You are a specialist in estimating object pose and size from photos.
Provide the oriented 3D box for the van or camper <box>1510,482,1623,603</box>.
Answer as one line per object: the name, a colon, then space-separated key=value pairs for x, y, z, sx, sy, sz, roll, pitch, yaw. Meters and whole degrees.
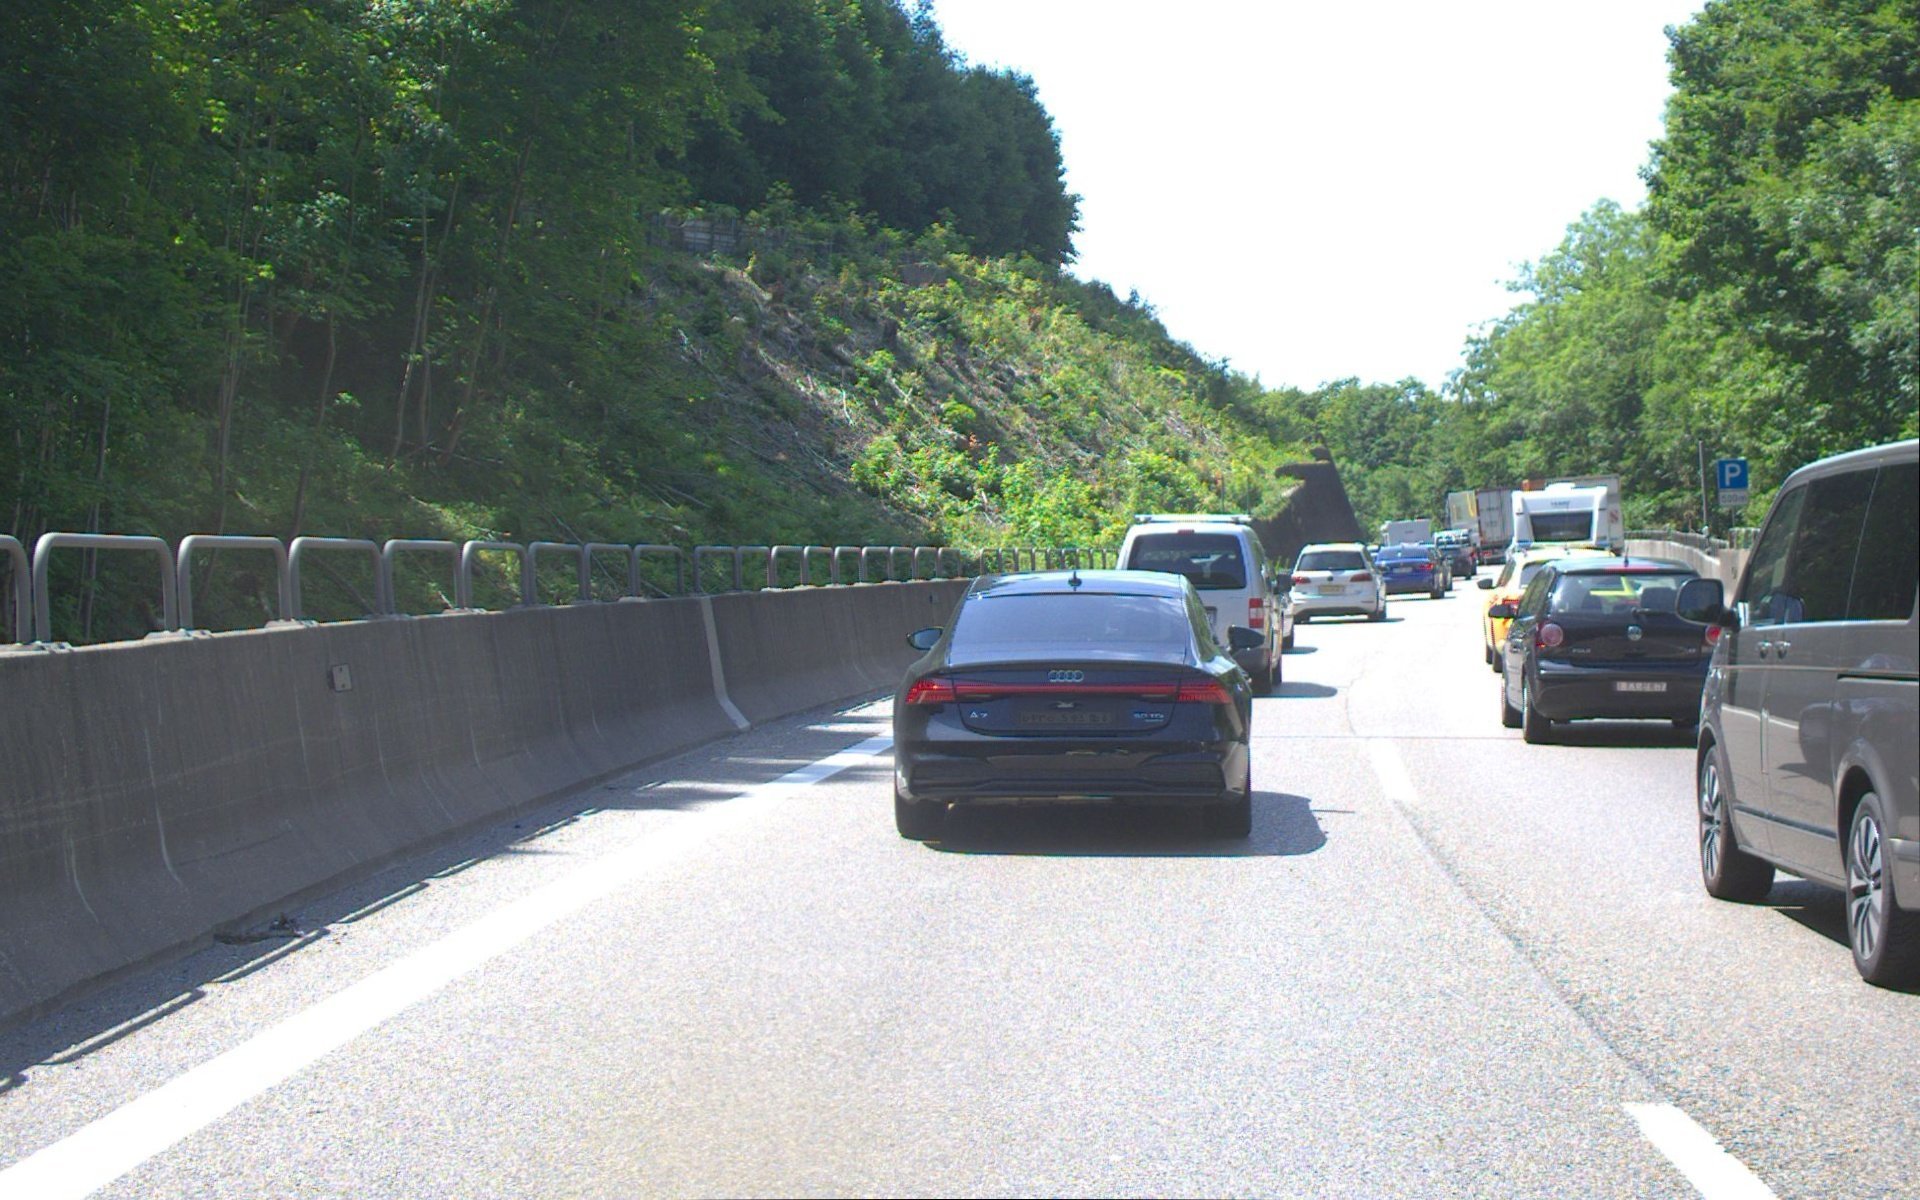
van or camper: x=14.985 y=-1.398 z=84.712 sx=2.605 sy=2.845 sz=6.333 roll=-1 pitch=1 yaw=11

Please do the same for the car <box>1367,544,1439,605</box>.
car: x=11.652 y=-0.683 z=90.267 sx=1.751 sy=1.565 sz=3.769 roll=-1 pitch=1 yaw=9

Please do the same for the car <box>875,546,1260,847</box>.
car: x=0.595 y=0.454 z=19.343 sx=1.905 sy=1.484 sz=4.379 roll=-1 pitch=1 yaw=2

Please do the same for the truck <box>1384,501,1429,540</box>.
truck: x=23.248 y=-4.132 z=179.196 sx=1.994 sy=2.007 sz=4.000 roll=0 pitch=1 yaw=3

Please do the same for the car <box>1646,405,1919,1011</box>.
car: x=4.028 y=0.305 z=13.226 sx=1.940 sy=1.924 sz=4.694 roll=-1 pitch=1 yaw=2

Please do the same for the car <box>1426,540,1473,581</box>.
car: x=19.312 y=-1.574 z=135.453 sx=1.751 sy=1.565 sz=3.770 roll=-1 pitch=1 yaw=9

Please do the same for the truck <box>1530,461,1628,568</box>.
truck: x=21.826 y=-2.978 z=121.584 sx=2.926 sy=3.674 sz=7.722 roll=0 pitch=1 yaw=7

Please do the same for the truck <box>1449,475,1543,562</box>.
truck: x=28.365 y=-4.276 z=182.245 sx=3.710 sy=4.488 sz=7.724 roll=0 pitch=1 yaw=0

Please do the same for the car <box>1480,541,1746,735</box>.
car: x=5.248 y=0.263 z=28.055 sx=1.685 sy=1.453 sz=3.999 roll=-1 pitch=1 yaw=4

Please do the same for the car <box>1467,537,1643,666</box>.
car: x=7.152 y=-0.012 z=41.655 sx=1.809 sy=1.473 sz=4.081 roll=-1 pitch=1 yaw=6

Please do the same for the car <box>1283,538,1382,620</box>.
car: x=7.386 y=-0.424 z=68.333 sx=1.895 sy=1.579 sz=3.770 roll=0 pitch=1 yaw=6

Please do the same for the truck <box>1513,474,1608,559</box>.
truck: x=25.093 y=-3.456 z=143.968 sx=3.164 sy=3.456 sz=8.220 roll=0 pitch=1 yaw=5

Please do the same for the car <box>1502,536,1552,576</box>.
car: x=27.003 y=-2.109 z=163.899 sx=1.994 sy=1.853 sz=3.999 roll=0 pitch=1 yaw=5

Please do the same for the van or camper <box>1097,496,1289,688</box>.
van or camper: x=2.562 y=-0.103 z=37.048 sx=1.854 sy=1.935 sz=4.164 roll=-1 pitch=1 yaw=7

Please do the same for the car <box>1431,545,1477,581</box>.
car: x=21.498 y=-1.611 z=149.691 sx=1.751 sy=1.565 sz=3.770 roll=0 pitch=1 yaw=5
